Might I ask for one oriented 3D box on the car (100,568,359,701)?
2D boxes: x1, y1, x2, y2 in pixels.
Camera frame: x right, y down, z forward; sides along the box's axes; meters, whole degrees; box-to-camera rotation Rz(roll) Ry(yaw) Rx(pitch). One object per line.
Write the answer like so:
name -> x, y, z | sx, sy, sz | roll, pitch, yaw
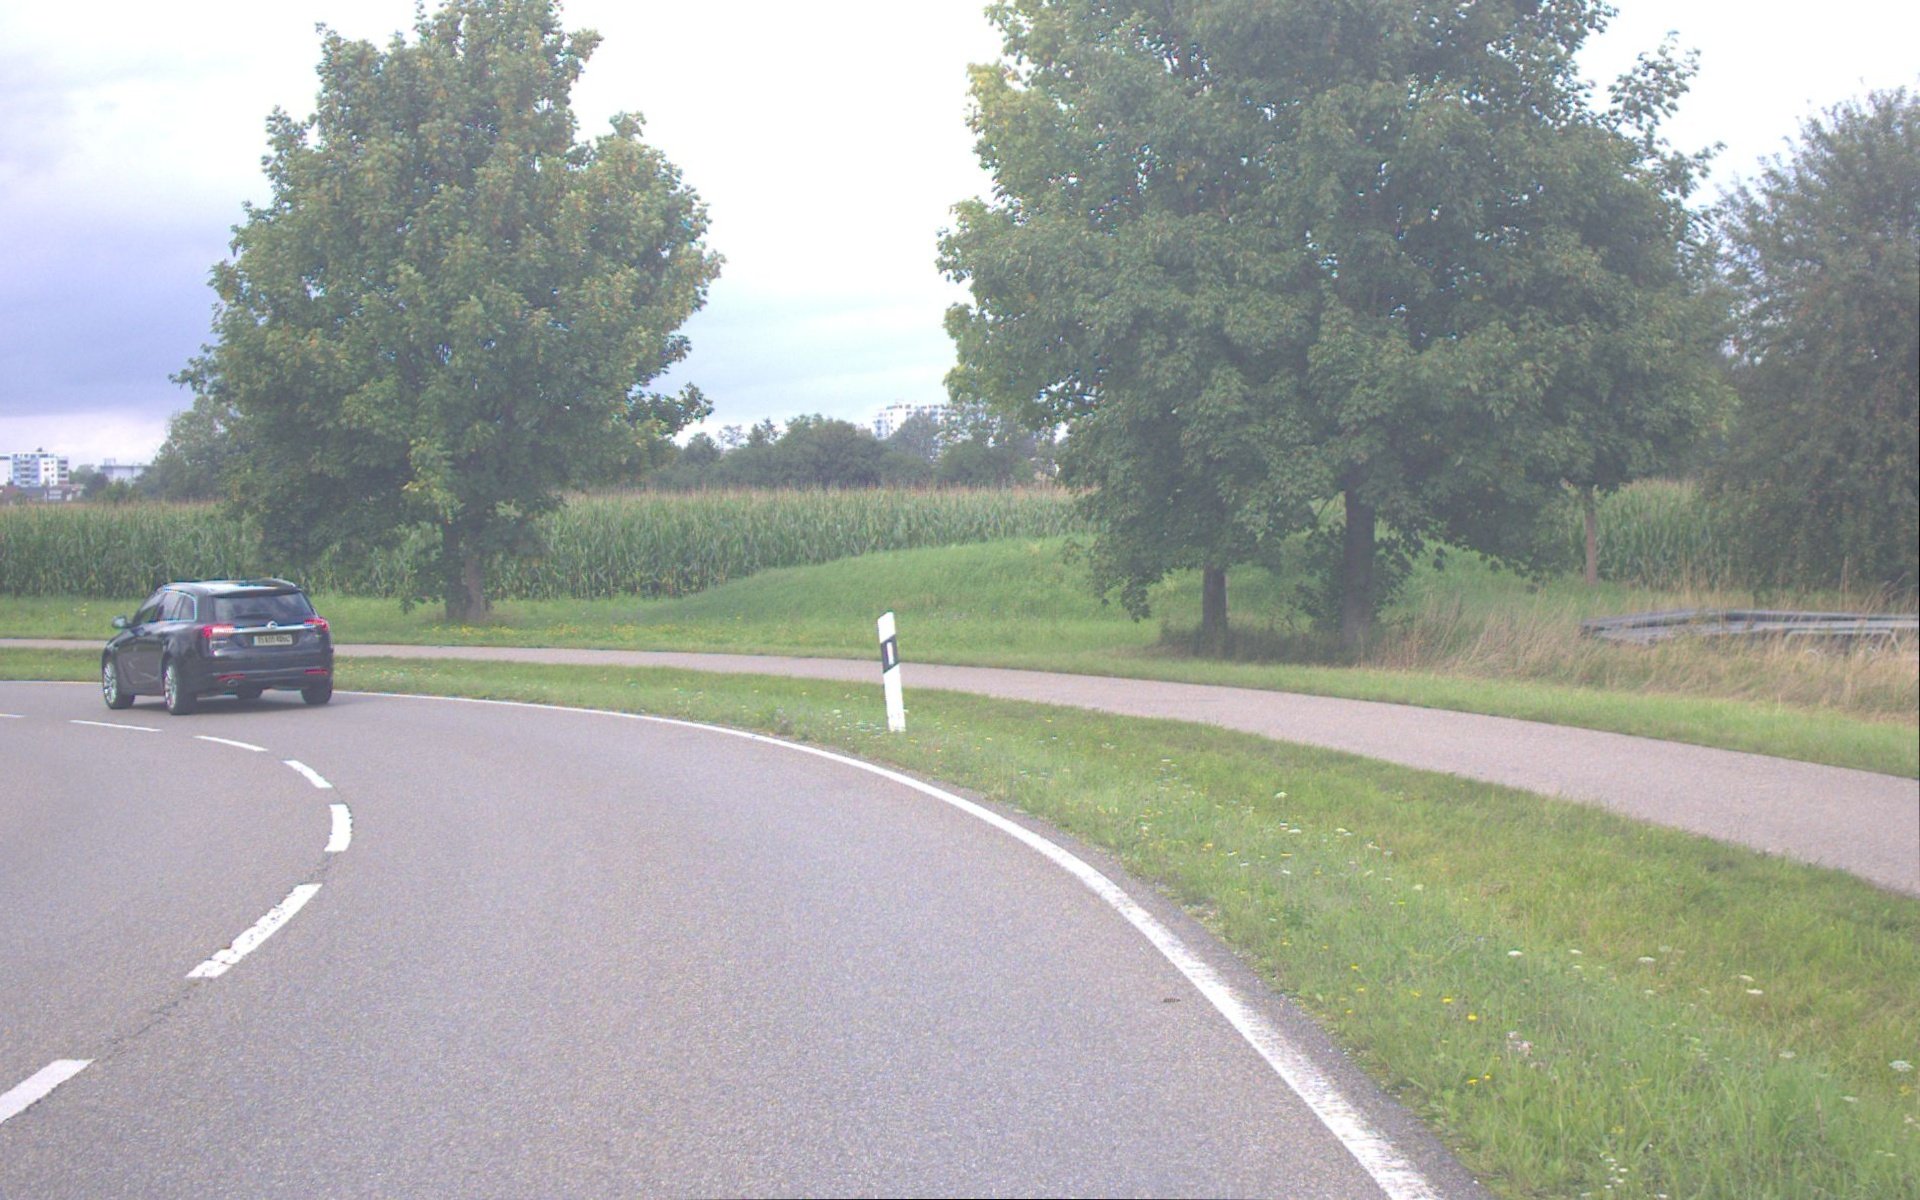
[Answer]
car -> -8.476, 0.360, 39.655 | 1.841, 1.412, 4.000 | -1, 1, -29
